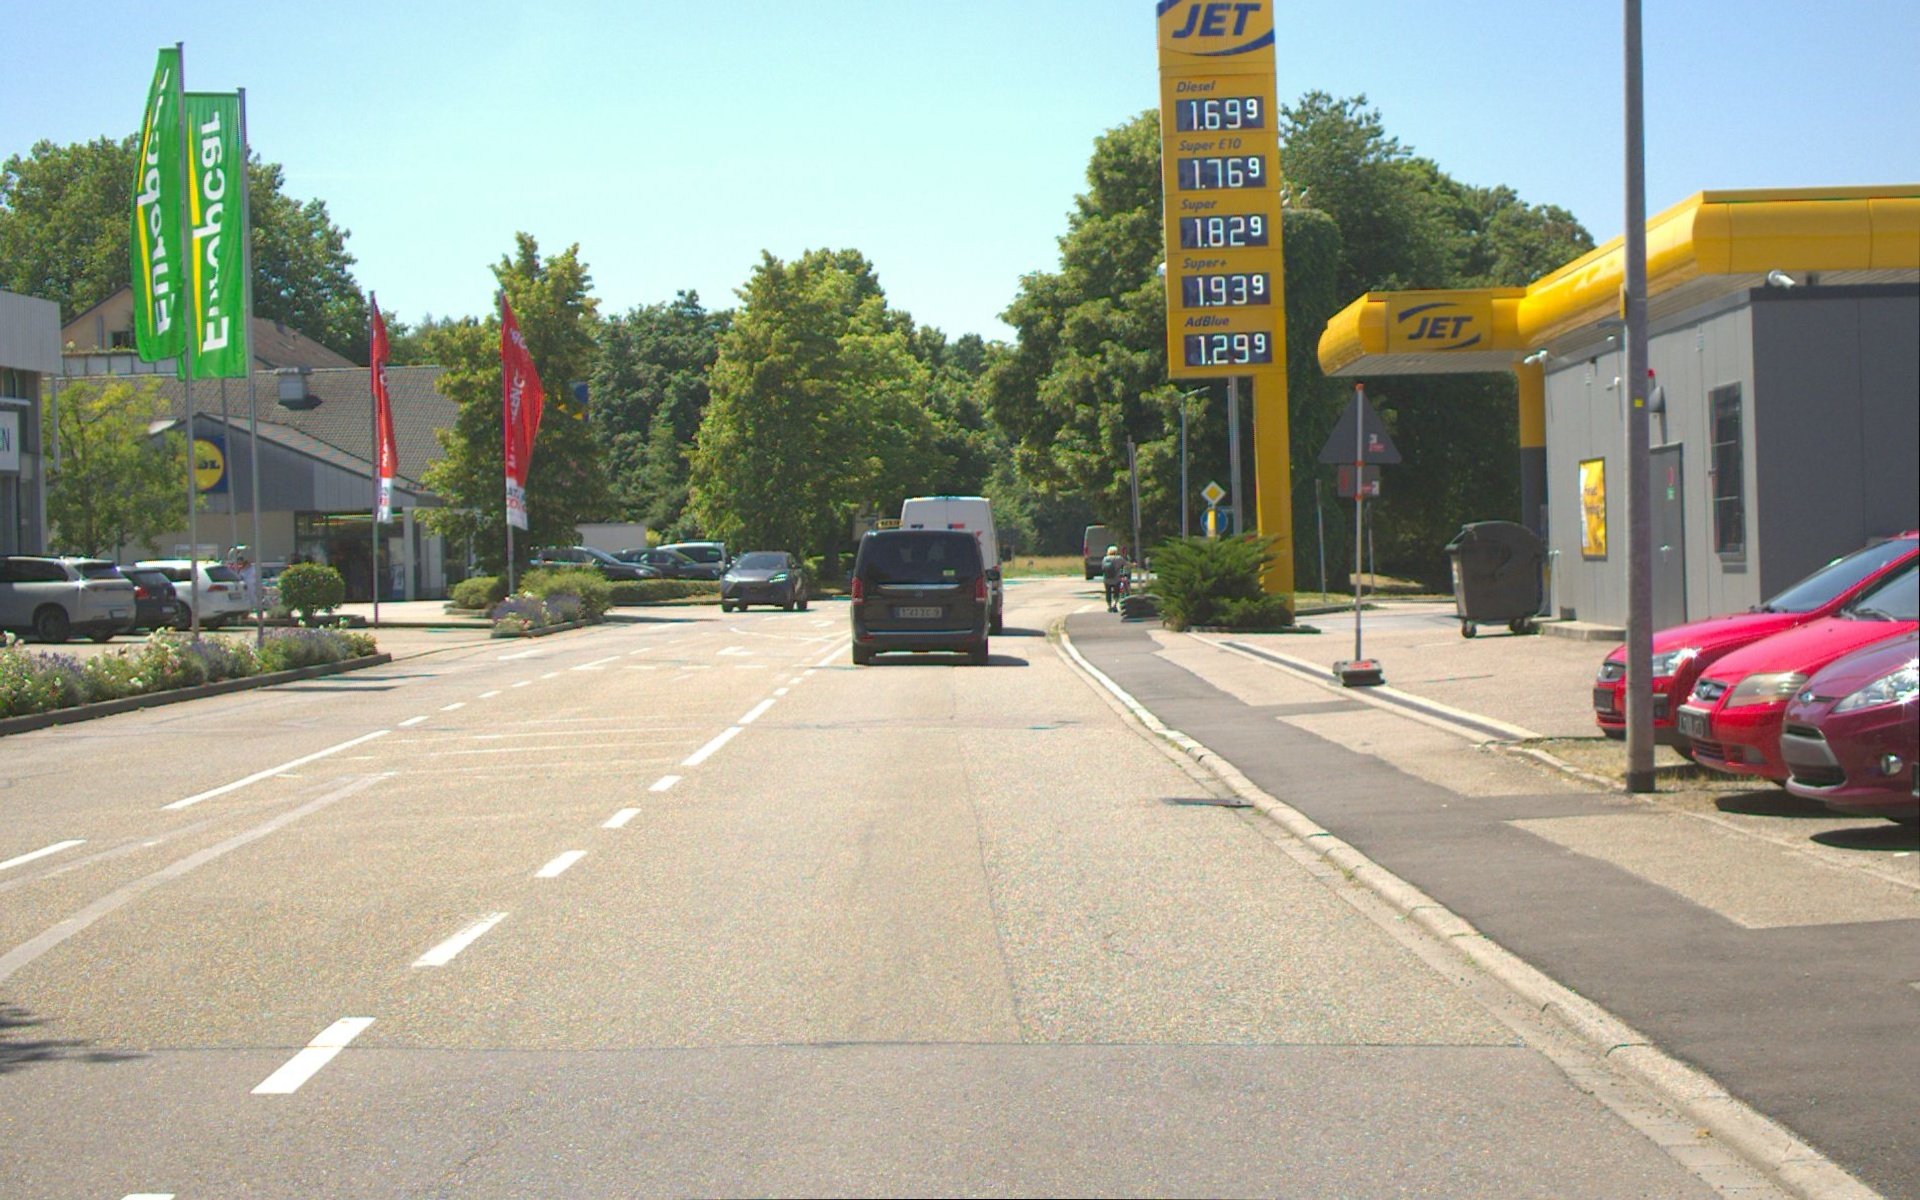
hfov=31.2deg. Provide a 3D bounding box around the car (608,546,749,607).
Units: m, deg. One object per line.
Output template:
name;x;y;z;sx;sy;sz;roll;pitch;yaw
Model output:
car;-9.100;-0.755;111.289;4.356;1.973;1.905;0;0;2

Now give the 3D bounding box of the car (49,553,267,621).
car;-17.488;-0.284;75.038;4.187;1.441;1.978;0;1;16

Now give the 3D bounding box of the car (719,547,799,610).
car;-5.190;-0.583;89.235;1.762;1.522;4.138;-2;1;0

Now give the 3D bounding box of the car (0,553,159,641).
car;-18.198;-0.069;67.264;4.534;1.658;1.998;0;1;19

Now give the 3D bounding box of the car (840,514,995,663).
car;-0.543;-0.182;48.244;1.993;1.946;5.005;1;1;1

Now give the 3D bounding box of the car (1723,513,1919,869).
car;5.700;0.336;16.268;3.684;1.561;1.750;-2;1;-4

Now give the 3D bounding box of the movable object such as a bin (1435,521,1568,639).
movable object such as a bin;6.962;-0.265;44.296;1.434;1.433;1.468;-3;1;1

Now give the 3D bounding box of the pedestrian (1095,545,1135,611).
pedestrian;3.363;-0.476;74.558;0.769;1.416;0.867;0;1;8

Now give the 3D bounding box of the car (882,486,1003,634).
car;-0.292;-0.763;65.820;2.078;2.693;4.666;1;0;2

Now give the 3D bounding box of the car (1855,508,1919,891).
car;5.737;0.348;14.000;3.684;1.561;1.642;-2;1;-2

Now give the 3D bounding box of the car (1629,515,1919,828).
car;5.675;0.308;18.575;3.684;1.561;1.709;-2;1;-3

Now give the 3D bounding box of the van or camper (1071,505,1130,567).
van or camper;6.781;-3.057;166.106;2.632;2.919;5.206;0;0;0

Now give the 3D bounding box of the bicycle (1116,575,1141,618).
bicycle;3.656;-0.071;74.403;0.378;0.909;1.597;0;1;8

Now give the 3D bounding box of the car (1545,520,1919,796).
car;5.891;0.284;21.045;4.224;1.529;1.958;-2;1;-1

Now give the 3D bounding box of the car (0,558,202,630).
car;-18.059;-0.126;72.251;3.629;1.469;1.998;0;1;19

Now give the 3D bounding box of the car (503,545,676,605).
car;-10.887;-0.730;101.145;4.709;1.756;2.098;0;0;8
